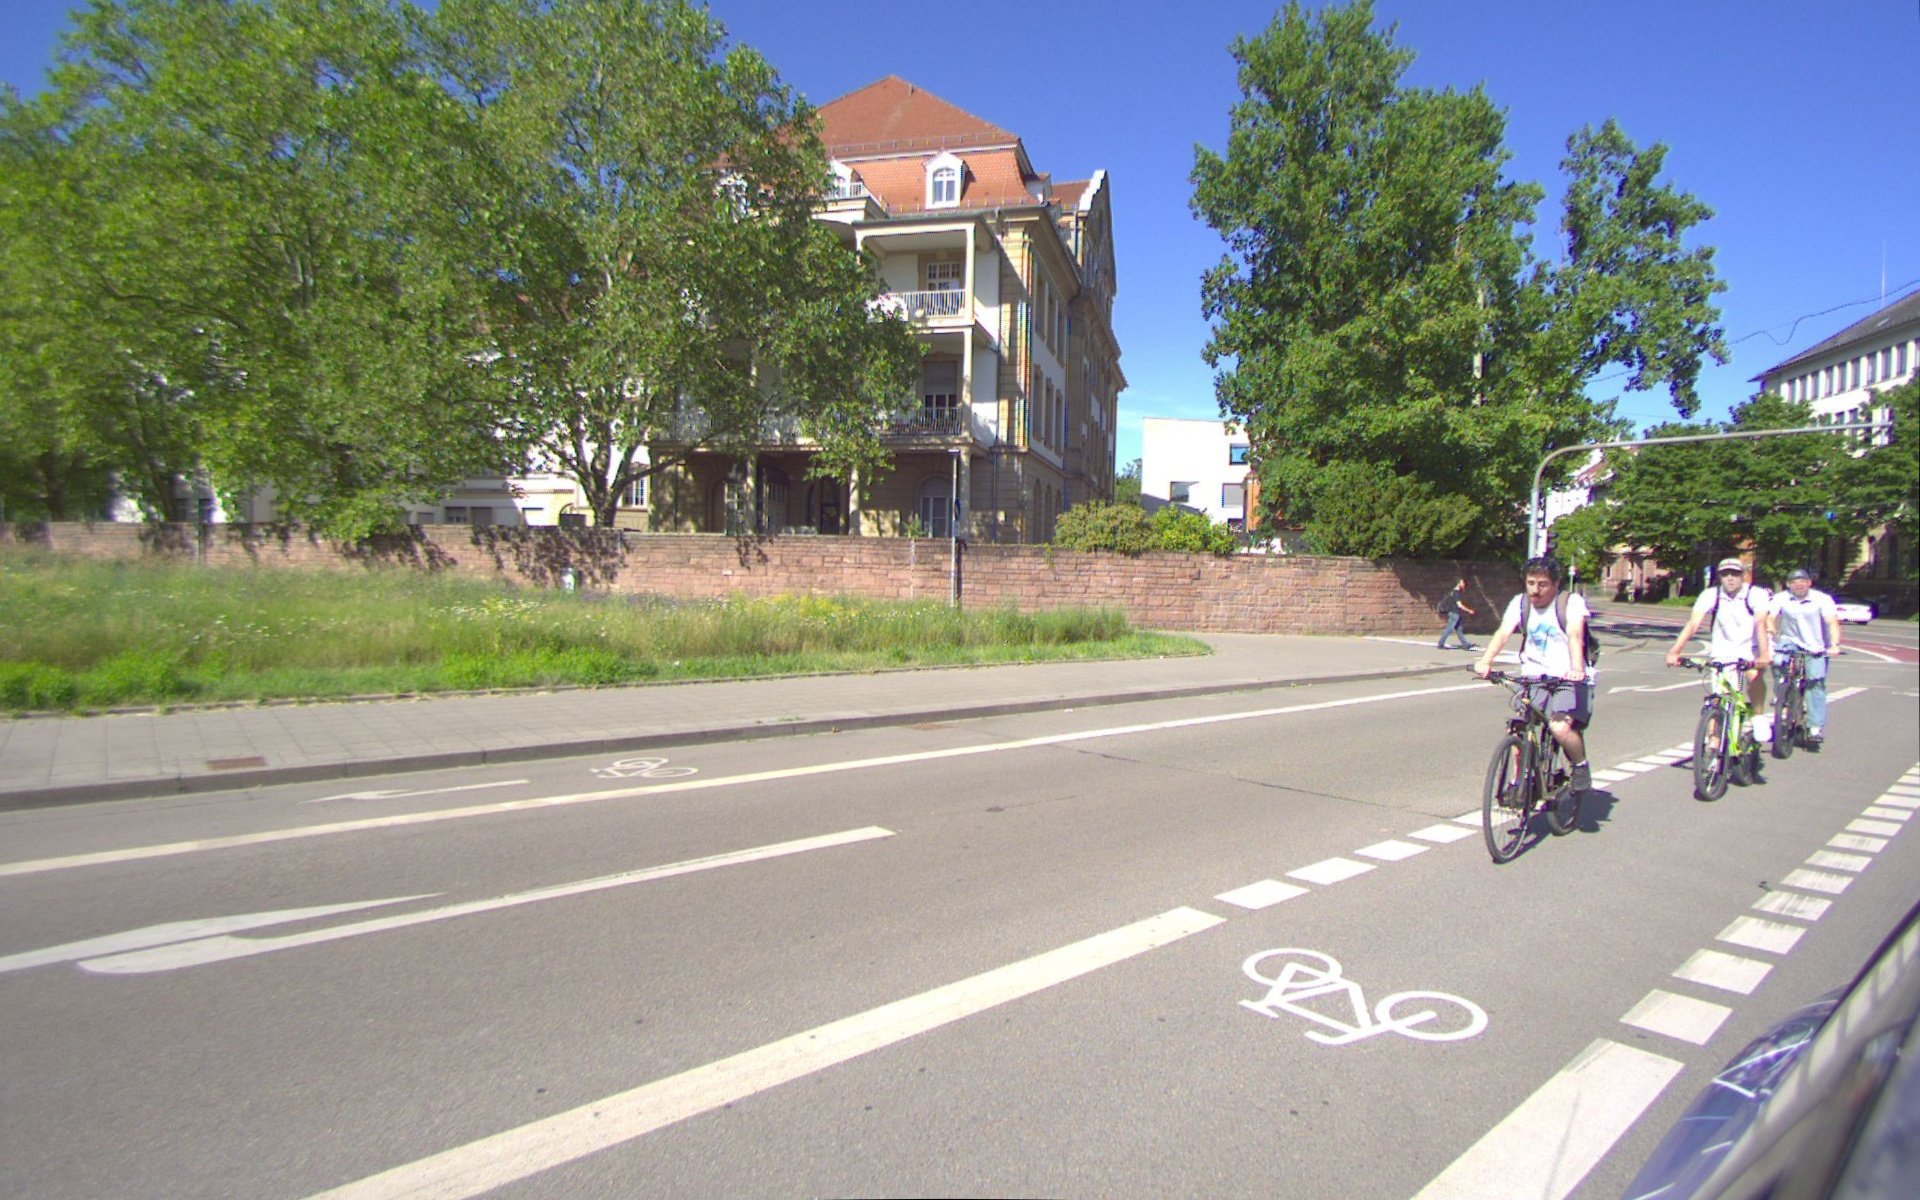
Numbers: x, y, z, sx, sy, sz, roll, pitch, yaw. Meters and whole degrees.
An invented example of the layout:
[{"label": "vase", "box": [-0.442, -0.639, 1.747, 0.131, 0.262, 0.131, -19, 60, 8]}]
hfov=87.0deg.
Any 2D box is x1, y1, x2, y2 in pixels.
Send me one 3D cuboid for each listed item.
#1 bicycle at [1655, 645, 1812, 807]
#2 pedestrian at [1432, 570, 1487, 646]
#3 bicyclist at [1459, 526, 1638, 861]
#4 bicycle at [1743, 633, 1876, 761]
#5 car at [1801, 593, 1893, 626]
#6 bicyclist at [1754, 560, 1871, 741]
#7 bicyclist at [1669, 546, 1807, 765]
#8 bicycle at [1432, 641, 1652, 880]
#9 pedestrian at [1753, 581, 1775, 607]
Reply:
[{"label": "bicycle", "box": [6.150, 0.928, 8.010, 1.812, 1.064, 0.672, 0, 0, -42]}, {"label": "pedestrian", "box": [12.845, 0.199, 26.026, 0.943, 1.872, 0.731, 2, 2, 1]}, {"label": "bicyclist", "box": [3.508, 0.499, 6.025, 0.923, 1.808, 0.677, 0, 0, -42]}, {"label": "bicycle", "box": [8.490, 0.913, 10.088, 1.870, 1.063, 0.749, 0, 2, -42]}, {"label": "car", "box": [46.413, 0.451, 53.067, 1.822, 1.504, 4.149, 2, 2, 14]}, {"label": "bicyclist", "box": [8.486, 0.466, 10.073, 0.851, 1.695, 0.741, 0, 2, -42]}, {"label": "bicyclist", "box": [6.181, 0.405, 8.035, 1.062, 1.603, 0.675, 0, 0, -42]}, {"label": "bicycle", "box": [3.535, 0.865, 6.076, 1.795, 1.152, 0.616, 0, 1, -42]}, {"label": "pedestrian", "box": [57.208, -0.440, 72.007, 0.745, 1.835, 0.978, 1, 1, 9]}]
